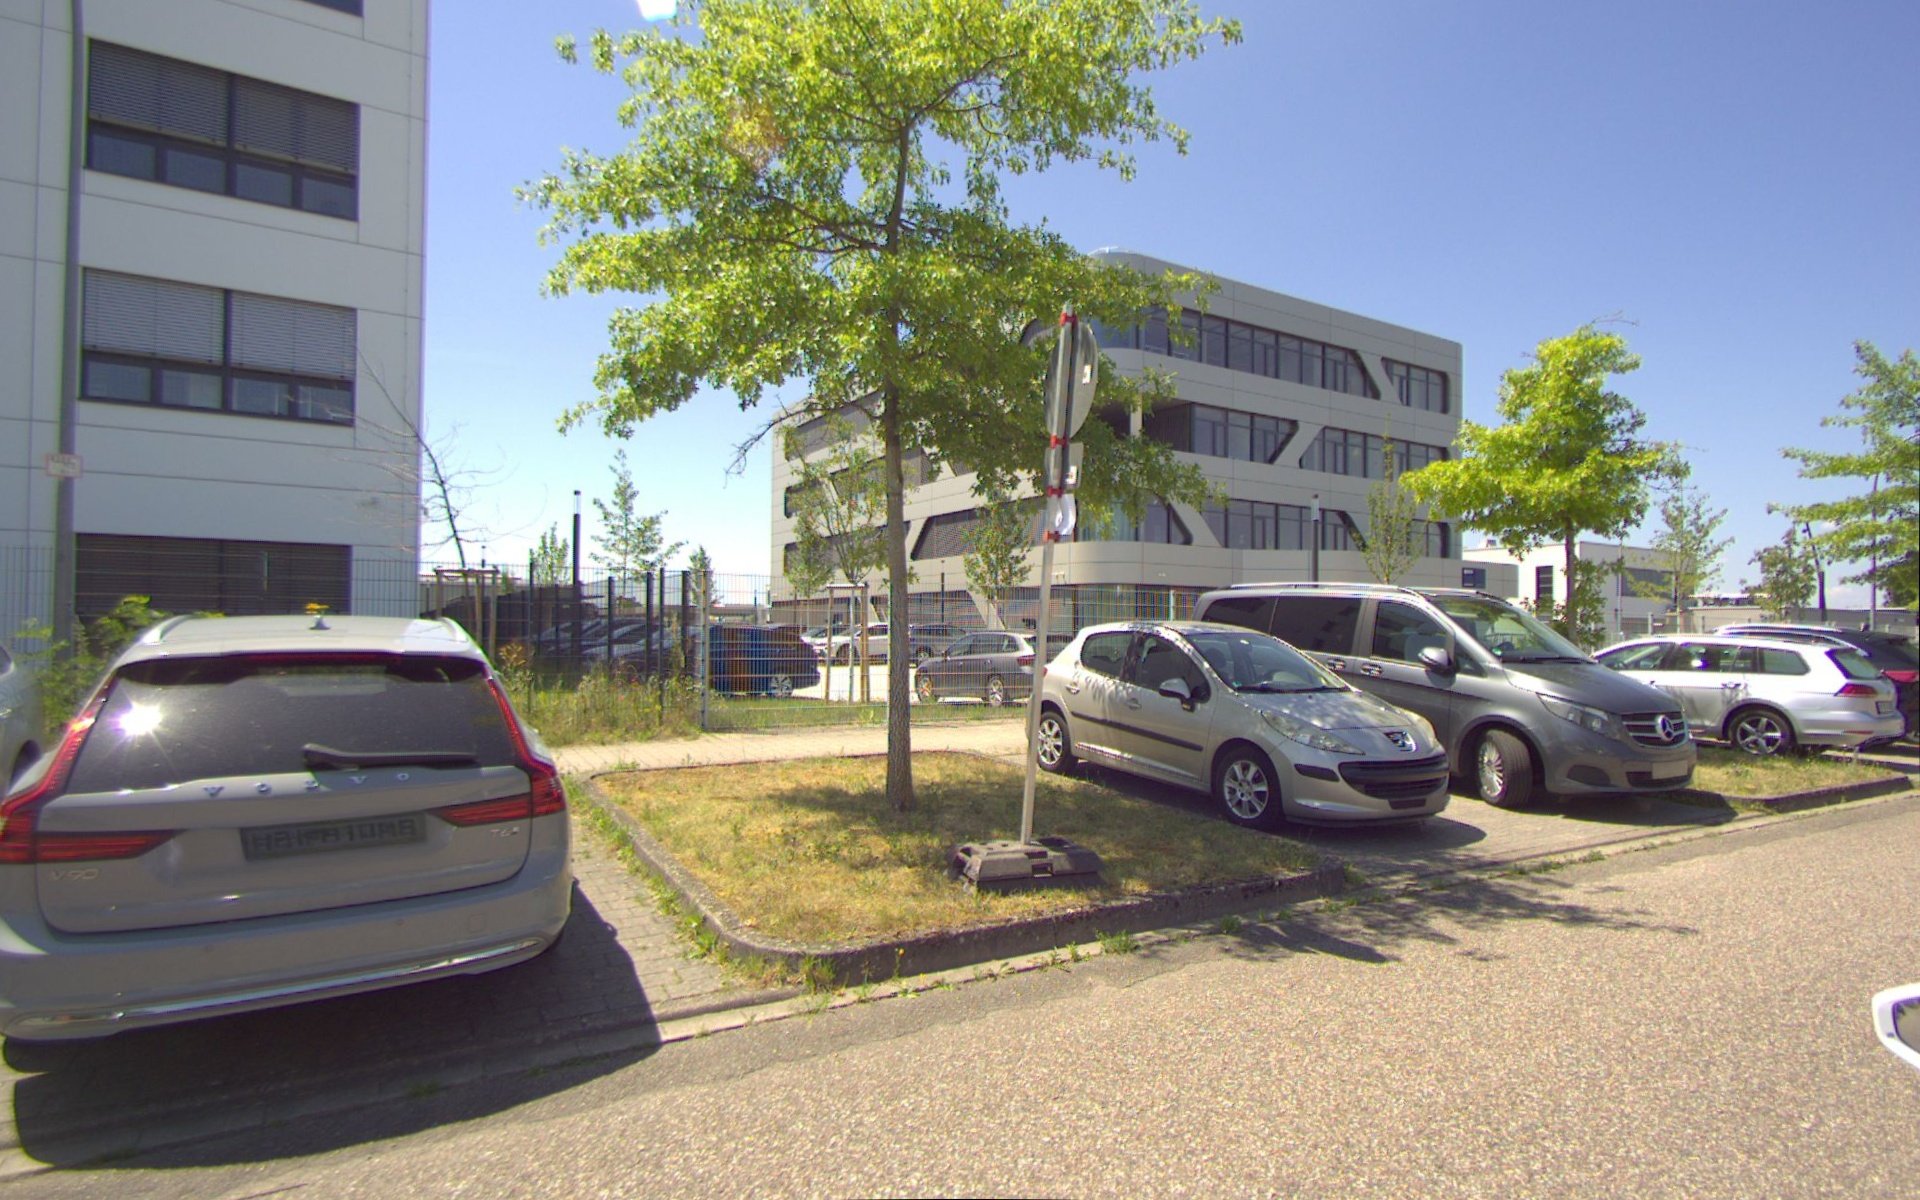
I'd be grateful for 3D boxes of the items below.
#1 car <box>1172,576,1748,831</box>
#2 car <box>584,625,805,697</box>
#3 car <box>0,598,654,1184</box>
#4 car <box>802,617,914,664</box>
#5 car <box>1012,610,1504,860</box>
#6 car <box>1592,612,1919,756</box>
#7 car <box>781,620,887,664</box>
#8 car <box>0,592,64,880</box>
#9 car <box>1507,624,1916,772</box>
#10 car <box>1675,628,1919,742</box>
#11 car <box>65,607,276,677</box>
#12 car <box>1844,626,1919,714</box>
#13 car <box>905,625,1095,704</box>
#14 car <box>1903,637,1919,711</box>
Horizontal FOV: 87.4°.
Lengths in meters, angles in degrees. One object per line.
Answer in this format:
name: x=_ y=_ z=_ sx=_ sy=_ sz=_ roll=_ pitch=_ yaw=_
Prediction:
car: x=4.619 y=0.790 z=10.275 sx=1.973 sy=1.917 sz=5.048 roll=1 pitch=0 yaw=-29
car: x=-5.445 y=1.272 z=20.687 sx=3.956 sy=1.243 sz=1.984 roll=5 pitch=-4 yaw=-31
car: x=-3.130 y=0.770 z=5.002 sx=1.838 sy=1.466 sz=4.685 roll=1 pitch=0 yaw=-33
car: x=-4.012 y=1.599 z=39.540 sx=3.955 sy=1.739 sz=1.984 roll=2 pitch=-3 yaw=-31
car: x=2.256 y=0.911 z=8.662 sx=1.743 sy=1.504 sz=3.950 roll=1 pitch=1 yaw=-30
car: x=11.869 y=1.115 z=14.774 sx=1.760 sy=1.701 sz=3.960 roll=2 pitch=0 yaw=-35
car: x=-5.250 y=1.758 z=41.996 sx=3.955 sy=1.739 sz=1.984 roll=2 pitch=-3 yaw=-31
car: x=-5.330 y=0.717 z=4.149 sx=1.709 sy=1.493 sz=4.286 roll=1 pitch=0 yaw=-32
car: x=9.668 y=1.151 z=13.262 sx=1.587 sy=1.480 sz=4.013 roll=2 pitch=0 yaw=-33
car: x=14.035 y=1.297 z=15.820 sx=1.692 sy=1.500 sz=4.173 roll=2 pitch=0 yaw=-30
car: x=-19.666 y=1.038 z=25.263 sx=3.956 sy=1.623 sz=1.766 roll=1 pitch=-2 yaw=-32
car: x=19.422 y=1.391 z=18.951 sx=1.795 sy=1.643 sz=3.720 roll=2 pitch=0 yaw=-29
car: x=0.652 y=1.266 z=19.337 sx=1.660 sy=1.349 sz=3.965 roll=2 pitch=-5 yaw=-33
car: x=21.674 y=1.597 z=20.212 sx=1.713 sy=1.528 sz=3.634 roll=2 pitch=0 yaw=-34
